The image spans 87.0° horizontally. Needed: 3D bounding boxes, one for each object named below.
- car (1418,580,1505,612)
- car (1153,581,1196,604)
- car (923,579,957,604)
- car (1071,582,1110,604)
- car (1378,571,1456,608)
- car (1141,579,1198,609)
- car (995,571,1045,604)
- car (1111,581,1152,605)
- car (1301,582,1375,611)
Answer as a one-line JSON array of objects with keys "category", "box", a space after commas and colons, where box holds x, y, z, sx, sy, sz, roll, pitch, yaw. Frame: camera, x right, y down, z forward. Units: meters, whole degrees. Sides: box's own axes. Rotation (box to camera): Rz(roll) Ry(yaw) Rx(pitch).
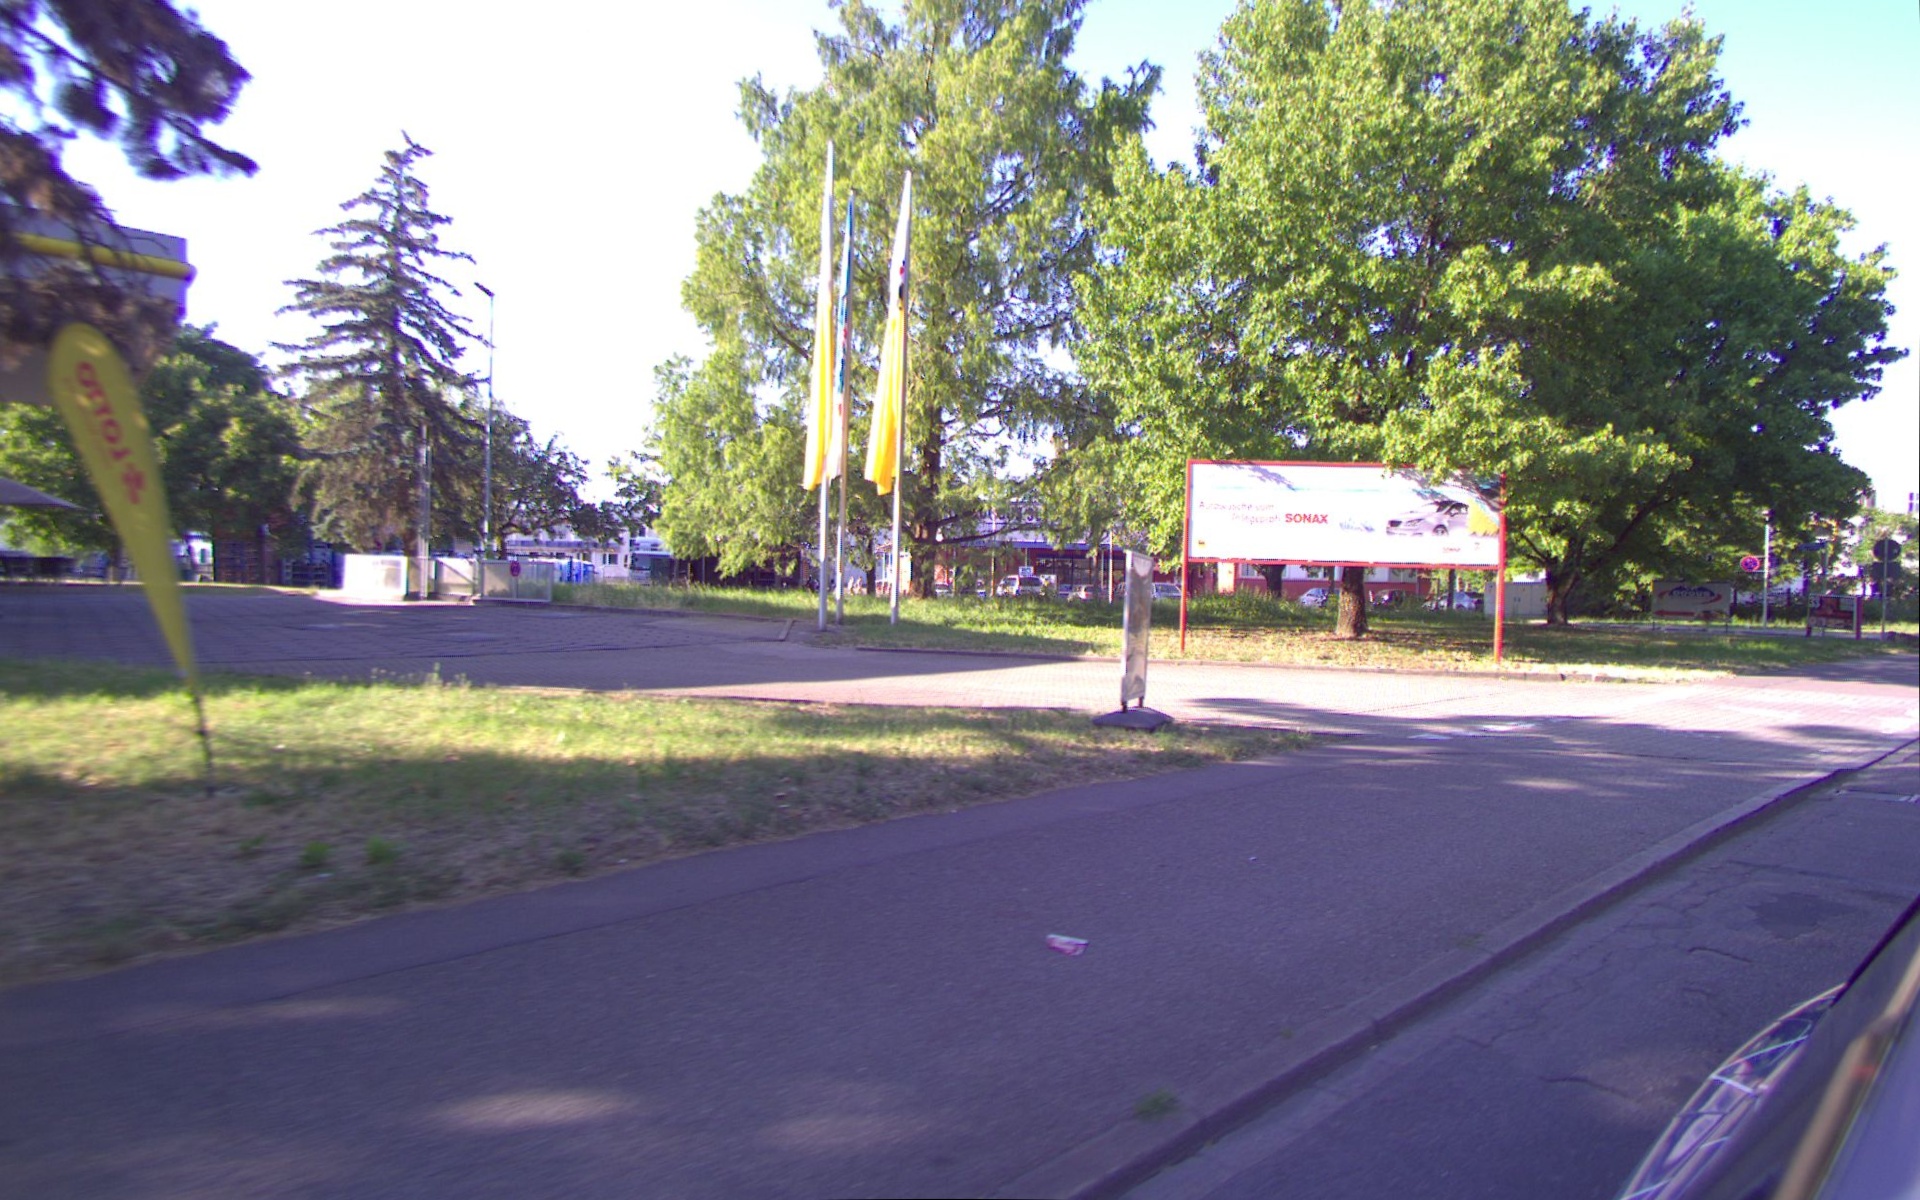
[{"category": "car", "box": [26.333, -0.209, 53.276, 1.959, 1.614, 4.451, 0, 0, -7]}, {"category": "car", "box": [14.113, -0.468, 66.747, 1.651, 1.444, 3.557, 0, -1, -7]}, {"category": "car", "box": [-1.294, -0.495, 63.788, 1.651, 1.501, 3.949, 0, -1, -8]}, {"category": "car", "box": [8.426, -0.450, 65.504, 1.651, 1.368, 3.557, 0, -1, -7]}, {"category": "car", "box": [24.090, -0.578, 53.532, 1.672, 1.840, 4.452, 1, 2, -7]}, {"category": "car", "box": [10.943, -0.277, 53.119, 1.753, 1.495, 4.200, 0, -1, -5]}, {"category": "car", "box": [3.781, -0.766, 64.517, 1.853, 2.000, 4.656, 0, -1, -14]}, {"category": "car", "box": [11.301, -0.465, 66.914, 1.651, 1.521, 3.557, 0, -1, -7]}, {"category": "car", "box": [20.174, -0.179, 54.245, 1.753, 1.495, 4.673, 0, -1, -7]}]
